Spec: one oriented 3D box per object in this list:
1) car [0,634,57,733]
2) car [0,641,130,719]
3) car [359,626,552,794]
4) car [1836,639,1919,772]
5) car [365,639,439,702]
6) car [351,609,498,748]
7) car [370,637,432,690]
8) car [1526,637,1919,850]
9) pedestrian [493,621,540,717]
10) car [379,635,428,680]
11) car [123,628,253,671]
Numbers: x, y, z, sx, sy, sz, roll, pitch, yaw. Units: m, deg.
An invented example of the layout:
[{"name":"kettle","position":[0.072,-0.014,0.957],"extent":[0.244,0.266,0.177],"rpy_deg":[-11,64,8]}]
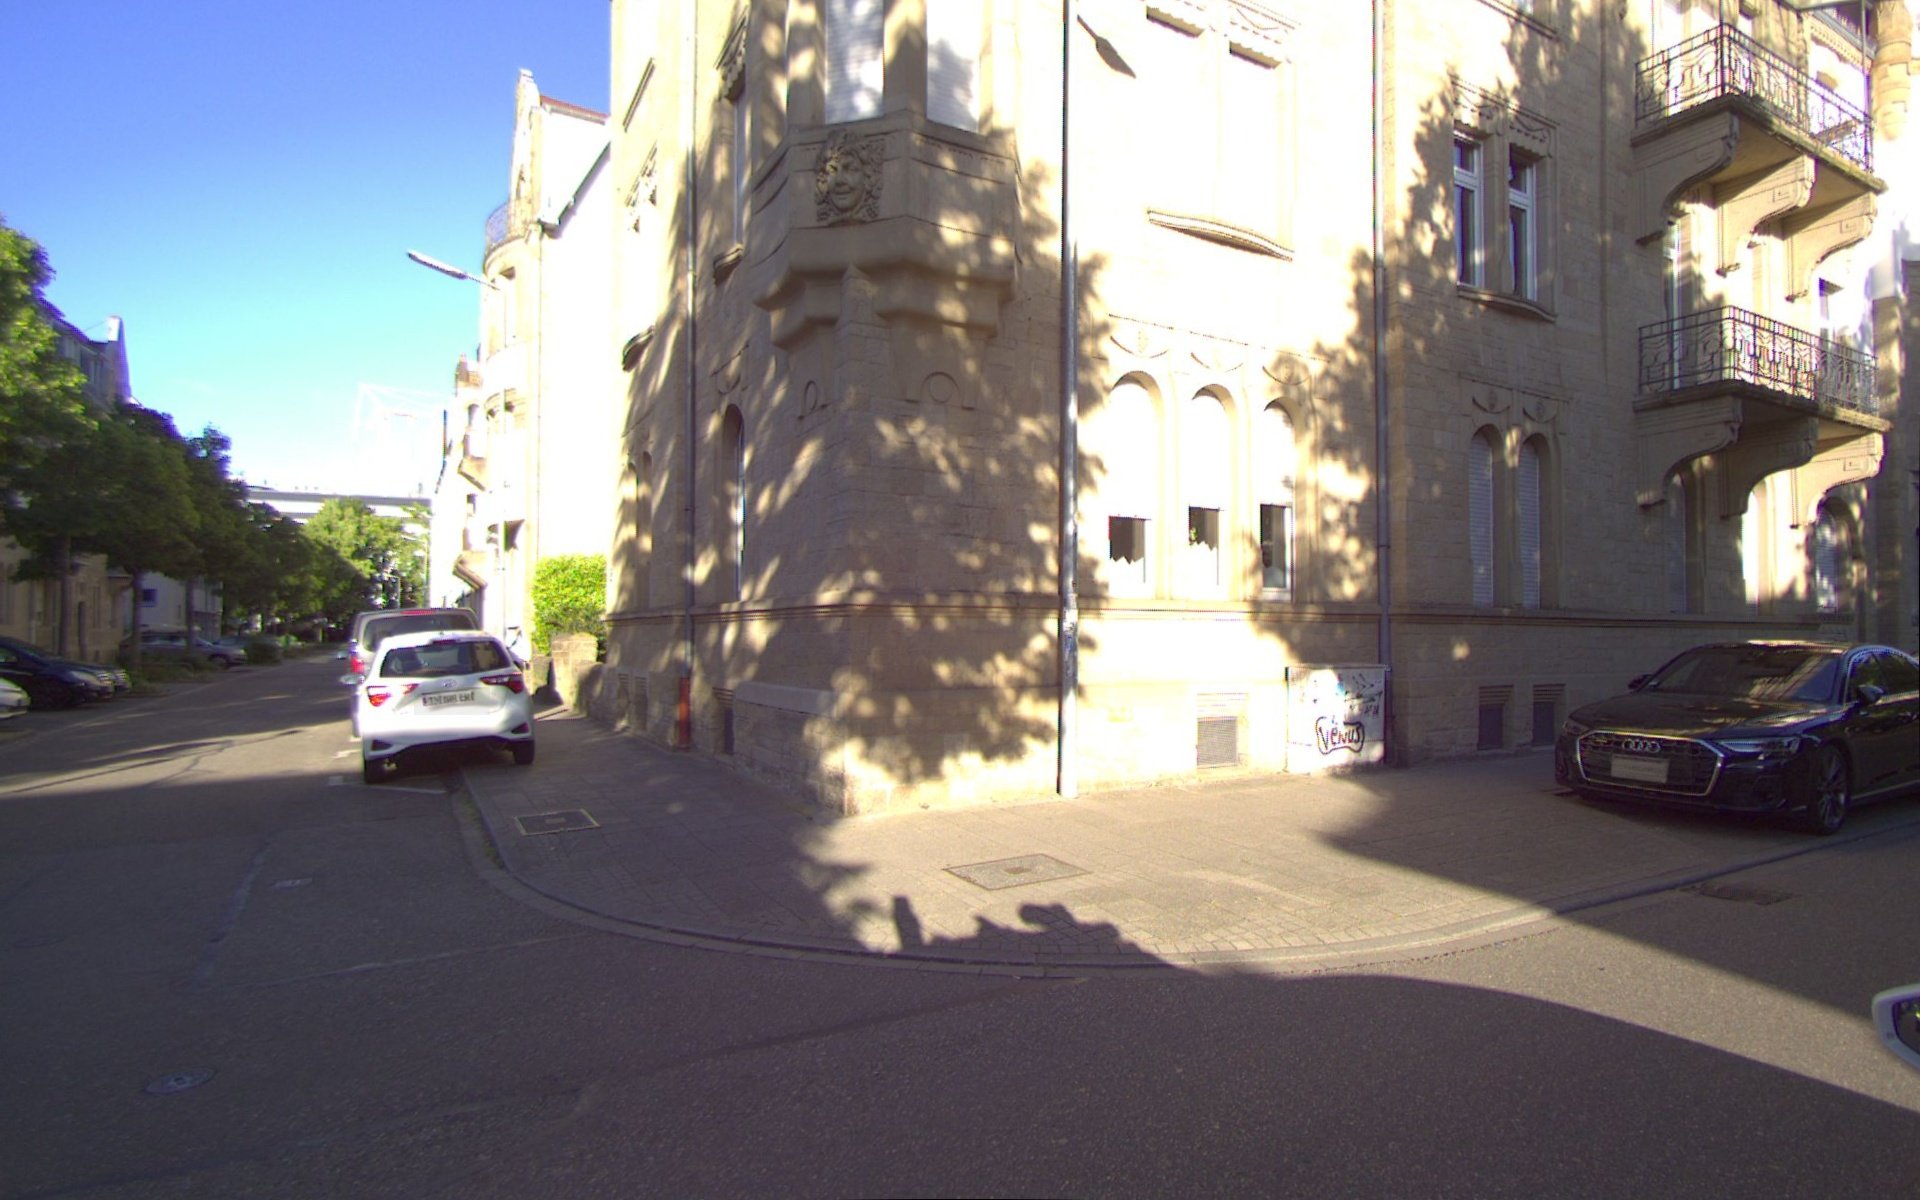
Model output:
[{"name":"car","position":[-17.470,1.457,16.058],"extent":[4.161,1.570,1.706],"rpy_deg":[-2,-2,-29]},{"name":"car","position":[-20.041,1.640,20.759],"extent":[4.162,1.570,1.705],"rpy_deg":[1,-3,-30]},{"name":"car","position":[-6.105,1.148,11.928],"extent":[1.699,1.571,3.776],"rpy_deg":[-2,-1,-32]},{"name":"car","position":[12.433,1.240,12.150],"extent":[3.983,1.472,1.687],"rpy_deg":[2,-2,-32]},{"name":"car","position":[-14.336,1.750,25.724],"extent":[1.471,1.423,3.386],"rpy_deg":[-2,-1,-32]},{"name":"car","position":[-9.017,1.186,16.704],"extent":[1.846,1.891,4.688],"rpy_deg":[-2,-1,-32]},{"name":"car","position":[-16.937,1.877,30.380],"extent":[1.471,1.423,3.386],"rpy_deg":[-2,-1,-32]},{"name":"car","position":[7.492,1.127,9.246],"extent":[4.842,1.446,1.802],"rpy_deg":[2,0,-31]},{"name":"pedestrian","position":[-8.076,1.267,18.292],"extent":[0.691,1.708,0.760],"rpy_deg":[2,-6,-28]},{"name":"car","position":[-23.902,2.412,43.091],"extent":[1.634,1.753,3.386],"rpy_deg":[-2,-1,-31]},{"name":"car","position":[-32.576,2.086,42.560],"extent":[4.165,1.722,1.704],"rpy_deg":[1,-3,-32]}]
